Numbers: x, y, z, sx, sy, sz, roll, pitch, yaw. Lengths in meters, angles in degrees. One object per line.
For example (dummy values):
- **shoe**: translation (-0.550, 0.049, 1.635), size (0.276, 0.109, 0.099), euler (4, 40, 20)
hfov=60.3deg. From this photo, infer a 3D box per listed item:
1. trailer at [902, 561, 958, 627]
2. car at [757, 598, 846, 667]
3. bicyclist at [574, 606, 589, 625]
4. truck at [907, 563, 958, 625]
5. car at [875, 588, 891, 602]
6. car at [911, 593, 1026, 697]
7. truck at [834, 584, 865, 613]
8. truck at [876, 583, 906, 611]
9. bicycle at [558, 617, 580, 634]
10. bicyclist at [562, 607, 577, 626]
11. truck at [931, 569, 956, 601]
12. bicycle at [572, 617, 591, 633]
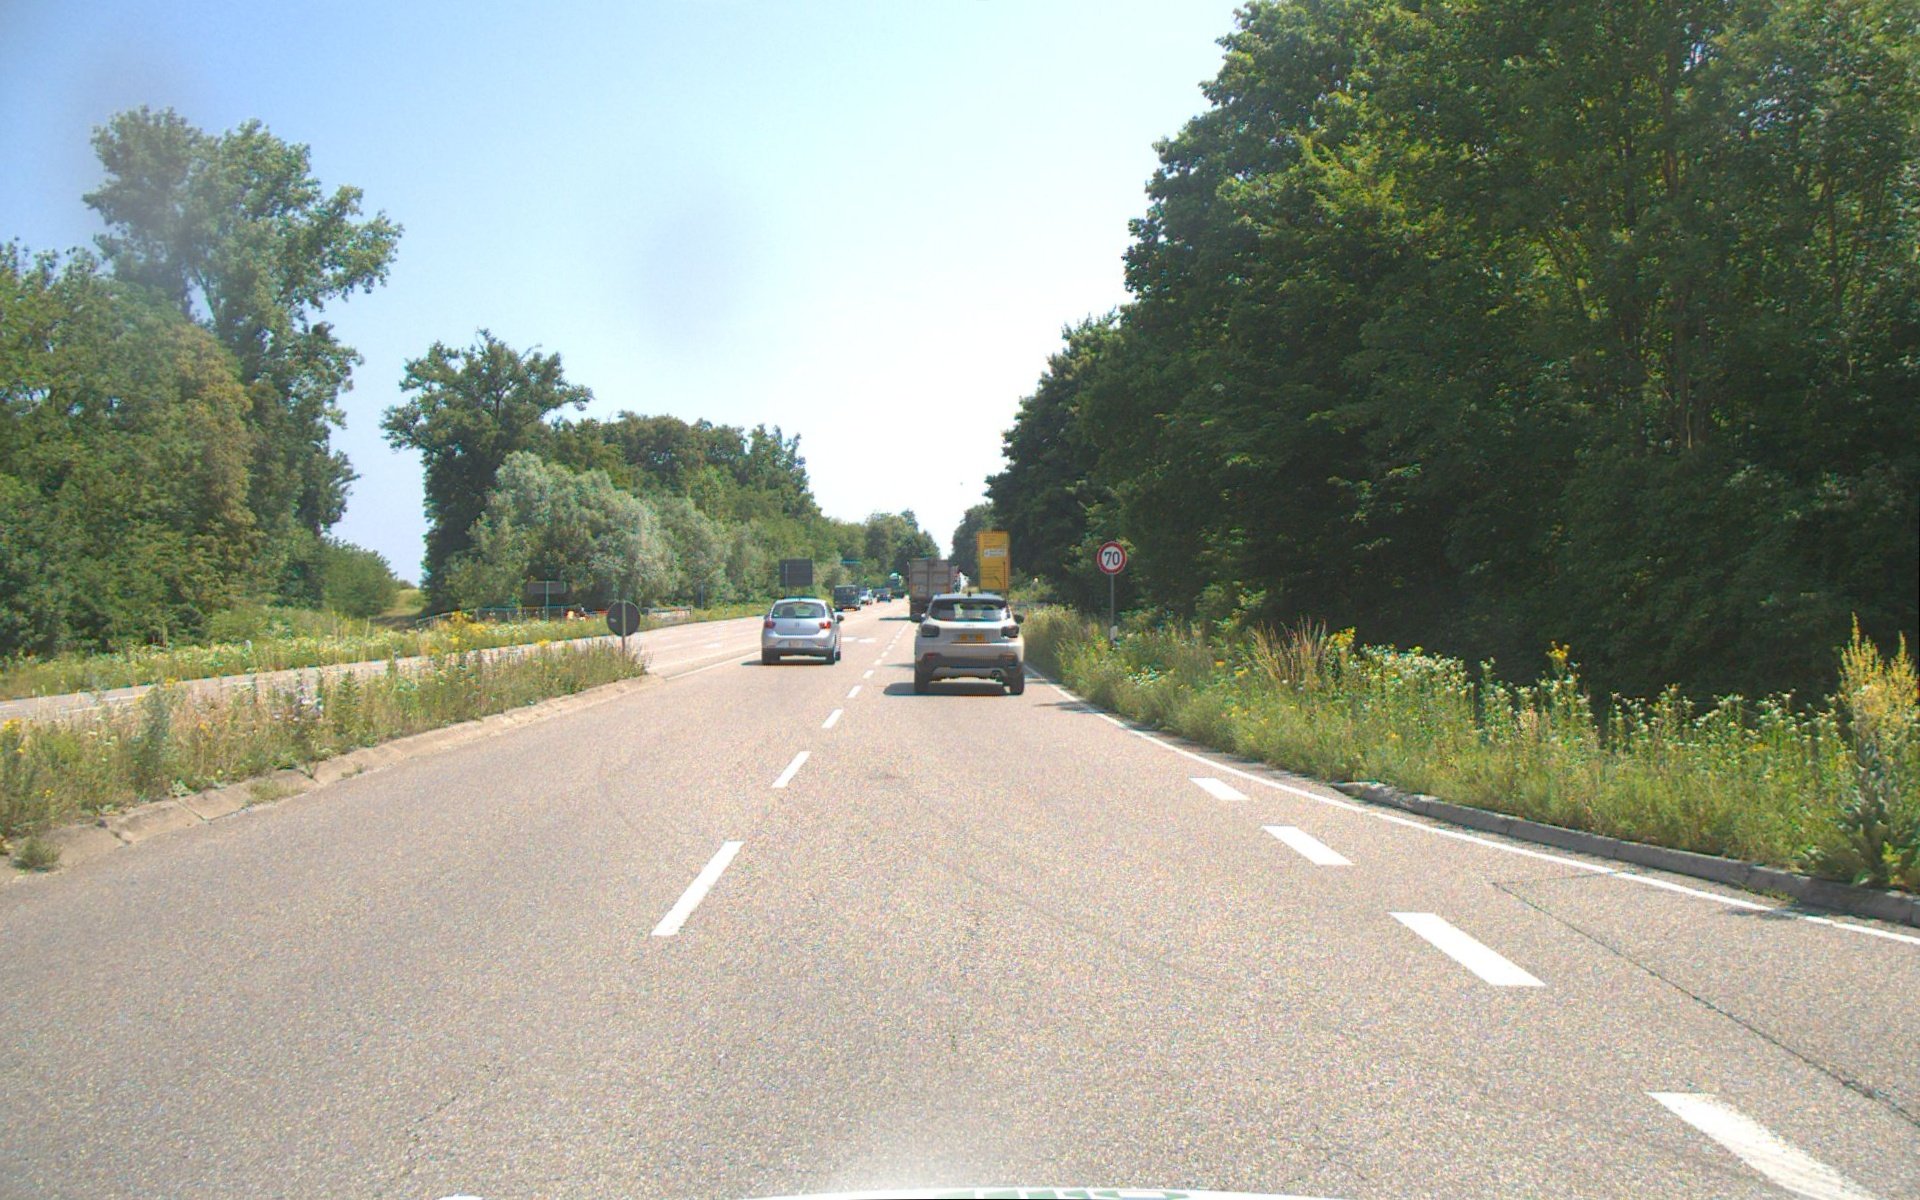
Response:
- **trailer**: translation (-1.863, -0.379, 107.138), size (3.313, 4.058, 10.804), euler (0, 0, 1)
- **car**: translation (-3.551, 0.699, 37.664), size (1.631, 1.455, 3.828), euler (0, 0, 0)
- **bicyclist**: translation (-25.136, 1.049, 109.835), size (0.719, 1.216, 0.592), euler (-2, 0, 11)
- **truck**: translation (-1.816, -0.401, 112.395), size (3.264, 4.058, 6.534), euler (0, 0, 1)
- **car**: translation (-10.415, -0.678, 223.377), size (1.953, 1.914, 4.959), euler (-2, 0, -1)
- **car**: translation (0.141, 0.676, 27.171), size (1.731, 1.561, 4.000), euler (-1, 0, 0)
- **truck**: translation (-10.837, -0.179, 162.237), size (2.404, 2.702, 6.491), euler (-4, 1, 0)
- **truck**: translation (-11.062, -0.417, 263.069), size (3.579, 4.177, 9.488), euler (-2, 0, -9)
- **bicycle**: translation (-24.948, 1.638, 105.625), size (0.661, 1.022, 1.802), euler (-2, 0, 9)
- **bicyclist**: translation (-24.960, 1.059, 105.713), size (0.741, 1.216, 0.592), euler (-2, 0, 10)
- **truck**: translation (-2.284, -1.973, 226.525), size (3.426, 4.261, 10.781), euler (0, 0, -1)
- **bicycle**: translation (-25.098, 1.650, 109.738), size (0.591, 1.023, 1.557), euler (-2, 0, 11)
